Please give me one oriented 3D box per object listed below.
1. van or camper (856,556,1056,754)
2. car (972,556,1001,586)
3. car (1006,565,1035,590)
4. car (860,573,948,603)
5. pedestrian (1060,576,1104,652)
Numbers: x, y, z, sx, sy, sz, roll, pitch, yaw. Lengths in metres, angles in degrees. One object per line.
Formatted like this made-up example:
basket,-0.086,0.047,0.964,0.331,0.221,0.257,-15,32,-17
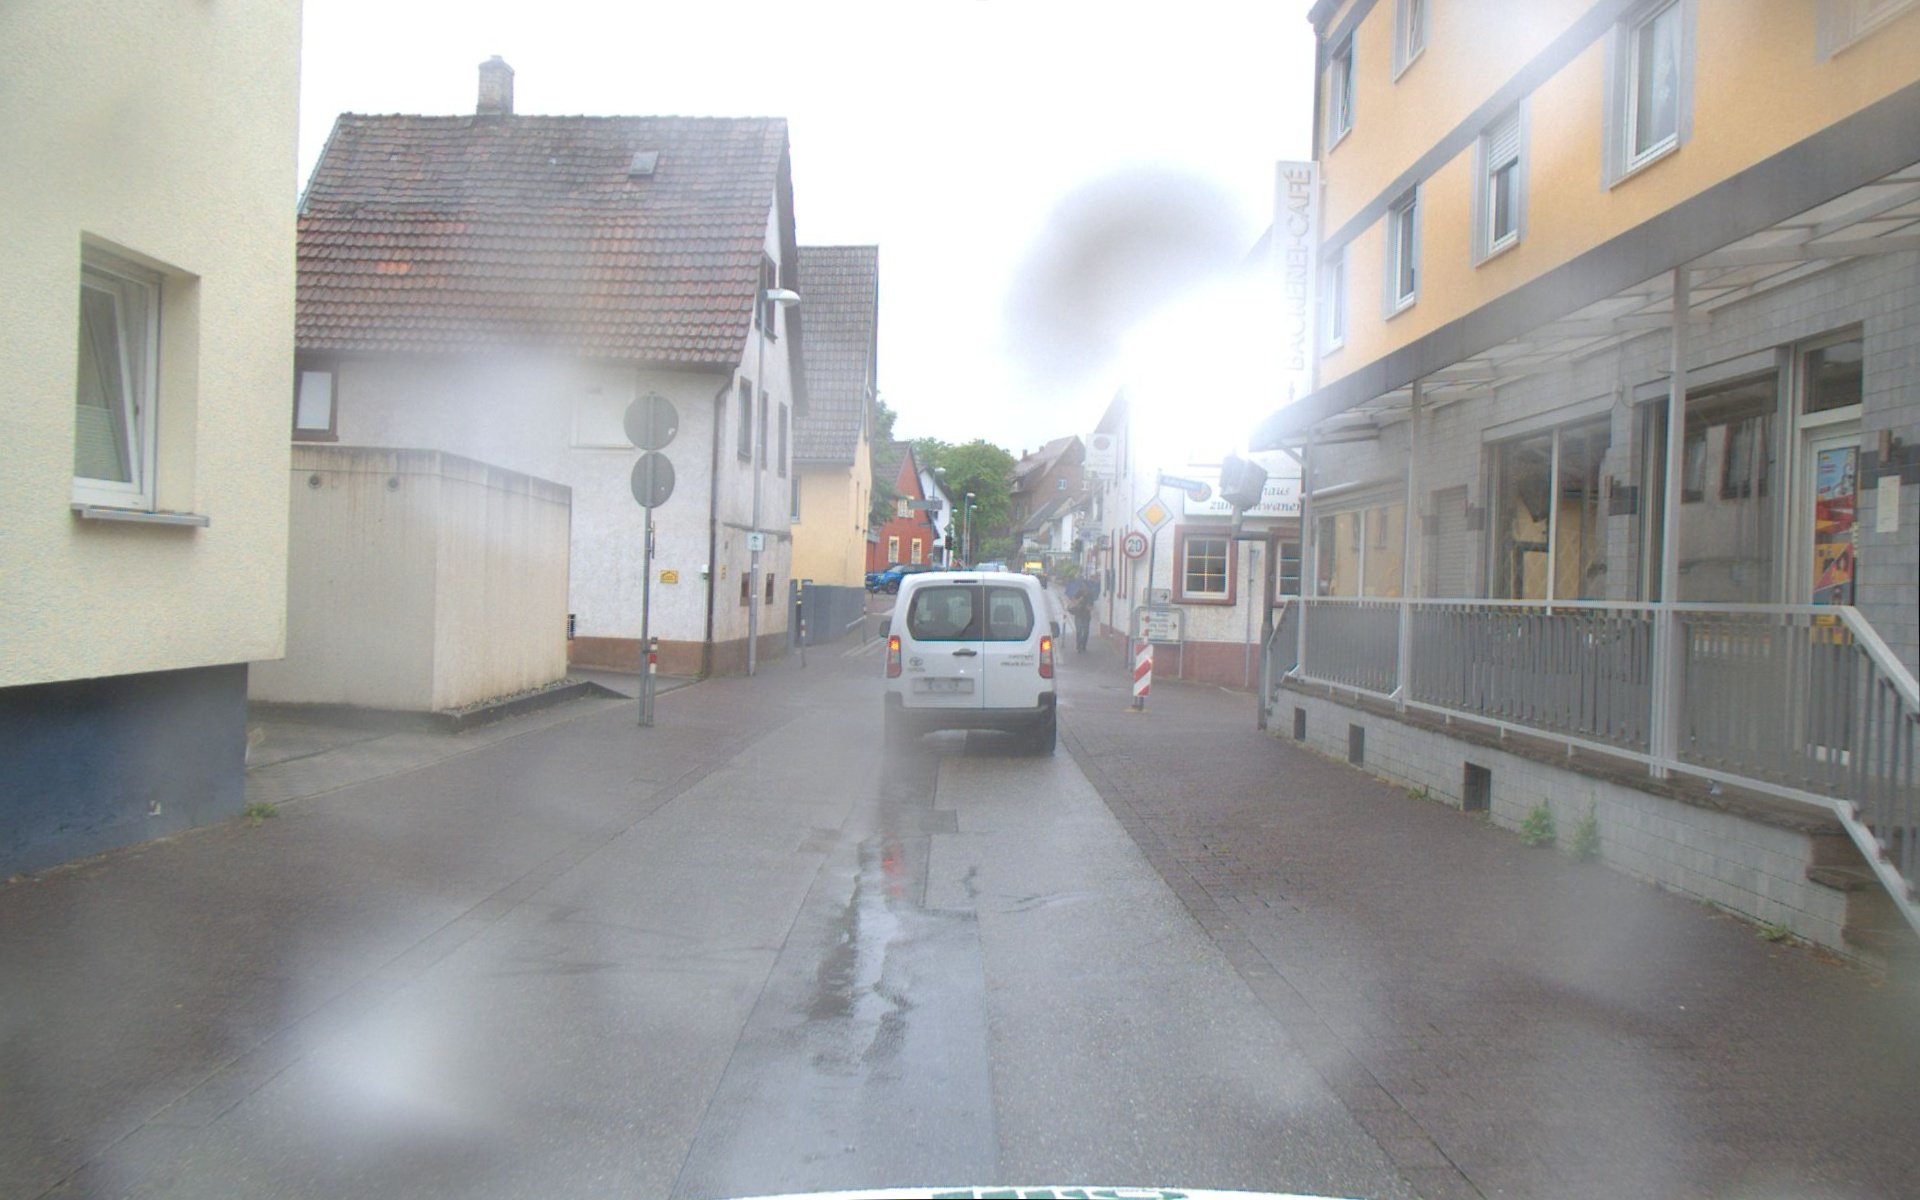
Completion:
van or camper,-0.020,0.522,17.930,1.903,1.883,4.000,0,0,0
car,1.734,-1.857,106.274,1.775,1.810,4.019,1,2,1
car,4.411,-1.635,120.391,1.952,1.777,4.000,1,1,0
car,-2.806,-0.603,83.270,3.953,1.397,2.085,1,0,-35
pedestrian,2.951,0.334,39.952,0.973,1.766,0.812,2,3,6
